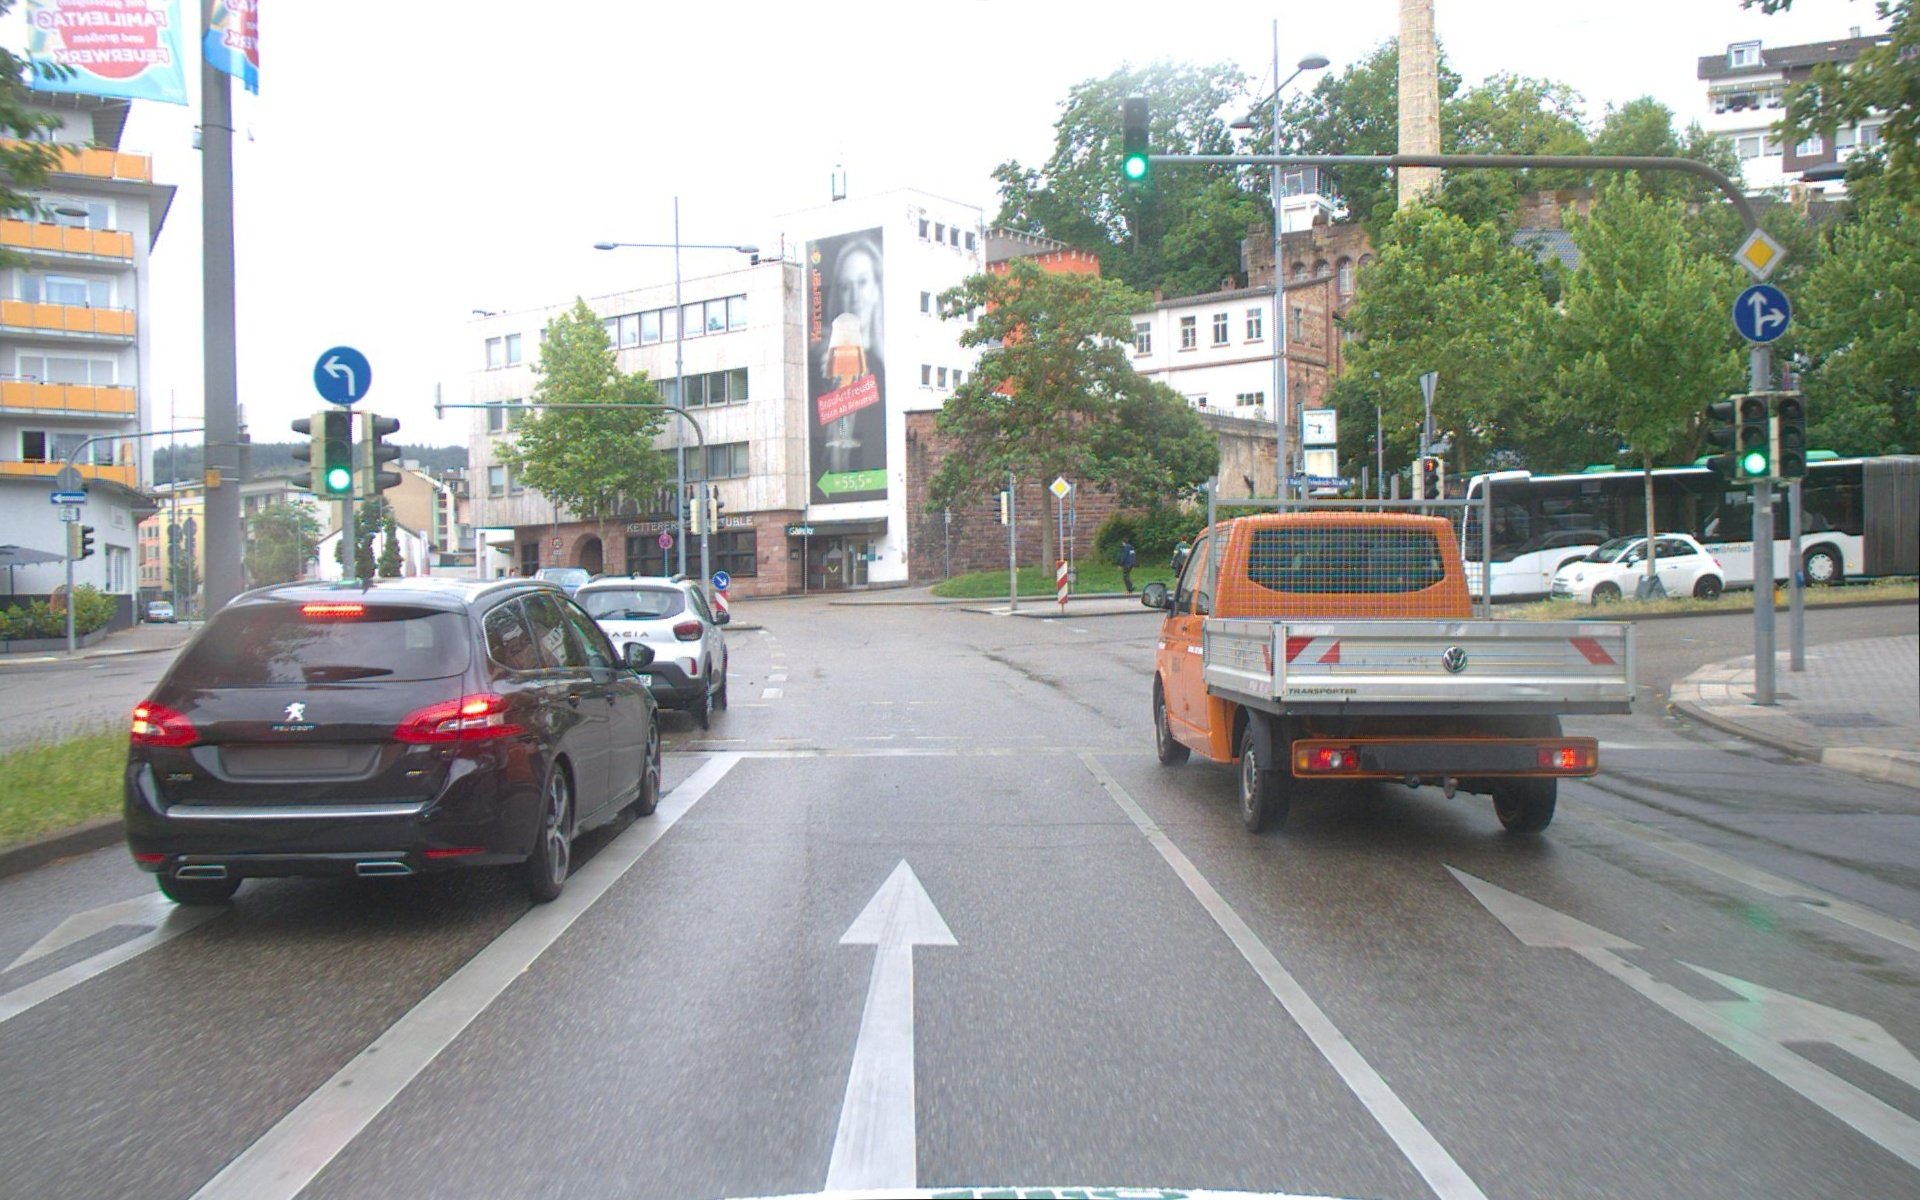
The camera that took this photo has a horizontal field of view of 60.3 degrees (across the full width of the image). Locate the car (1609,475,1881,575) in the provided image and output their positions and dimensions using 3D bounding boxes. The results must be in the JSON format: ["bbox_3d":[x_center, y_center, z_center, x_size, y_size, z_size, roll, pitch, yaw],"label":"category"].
[{"bbox_3d":[20.885,-1.960,44.330,6.187,2.273,2.257,-3,1,16],"label":"car"}]

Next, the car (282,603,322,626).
[{"bbox_3d":[-44.210,0.970,111.059,1.651,1.420,3.820,-2,2,-35],"label":"car"}]

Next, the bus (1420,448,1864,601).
[{"bbox_3d":[15.936,-1.784,38.990,9.435,3.272,2.704,-1,2,-3],"label":"bus"}]

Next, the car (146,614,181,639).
[{"bbox_3d":[-49.605,1.655,102.987,1.710,1.390,4.070,-2,-1,-29],"label":"car"}]

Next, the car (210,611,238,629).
[{"bbox_3d":[-67.323,1.821,151.214,1.932,1.420,3.827,-2,2,-30],"label":"car"}]

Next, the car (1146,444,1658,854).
[{"bbox_3d":[2.614,0.253,11.389,2.058,2.126,5.541,0,0,0],"label":"car"}]

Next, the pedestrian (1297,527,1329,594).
[{"bbox_3d":[9.419,-1.049,44.156,0.550,1.735,0.524,-4,2,-28],"label":"pedestrian"}]

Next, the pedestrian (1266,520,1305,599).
[{"bbox_3d":[8.660,-1.080,43.952,0.771,2.048,0.587,-2,2,34],"label":"pedestrian"}]

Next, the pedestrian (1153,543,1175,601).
[{"bbox_3d":[5.871,-0.812,47.614,0.554,1.644,0.691,1,-1,2],"label":"pedestrian"}]

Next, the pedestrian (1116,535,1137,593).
[{"bbox_3d":[5.194,-1.117,51.598,0.584,1.812,0.657,0,-1,8],"label":"pedestrian"}]

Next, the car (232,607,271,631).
[{"bbox_3d":[-46.638,1.275,108.864,1.716,1.465,4.366,-3,0,-31],"label":"car"}]

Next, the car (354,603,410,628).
[{"bbox_3d":[-34.850,0.931,99.654,3.801,1.420,1.659,1,2,44],"label":"car"}]

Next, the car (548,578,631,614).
[{"bbox_3d":[-15.453,-0.149,68.788,1.774,1.427,4.577,-2,1,-34],"label":"car"}]

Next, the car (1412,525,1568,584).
[{"bbox_3d":[14.634,-1.262,45.843,3.997,1.398,1.797,-3,1,16],"label":"car"}]

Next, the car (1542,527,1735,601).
[{"bbox_3d":[14.522,-0.795,35.504,3.487,1.476,1.589,-1,2,-4],"label":"car"}]

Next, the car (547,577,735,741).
[{"bbox_3d":[-3.232,0.525,17.309,1.507,1.487,3.626,-1,1,-5],"label":"car"}]

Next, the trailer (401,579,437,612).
[{"bbox_3d":[-49.146,-0.387,150.131,2.103,2.763,5.341,-4,2,-28],"label":"trailer"}]

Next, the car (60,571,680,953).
[{"bbox_3d":[-2.647,0.622,8.590,1.763,1.459,4.395,0,0,-2],"label":"car"}]

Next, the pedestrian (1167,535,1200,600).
[{"bbox_3d":[6.431,-0.937,47.651,0.861,1.863,0.729,0,0,0],"label":"pedestrian"}]

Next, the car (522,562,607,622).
[{"bbox_3d":[-11.933,-0.255,49.757,1.733,1.642,4.180,-3,2,-24],"label":"car"}]

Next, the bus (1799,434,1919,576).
[{"bbox_3d":[24.786,-2.316,39.336,8.359,3.235,2.688,-1,2,-1],"label":"bus"}]

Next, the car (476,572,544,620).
[{"bbox_3d":[-16.422,-0.168,60.189,1.733,1.642,4.180,-3,2,-24],"label":"car"}]
